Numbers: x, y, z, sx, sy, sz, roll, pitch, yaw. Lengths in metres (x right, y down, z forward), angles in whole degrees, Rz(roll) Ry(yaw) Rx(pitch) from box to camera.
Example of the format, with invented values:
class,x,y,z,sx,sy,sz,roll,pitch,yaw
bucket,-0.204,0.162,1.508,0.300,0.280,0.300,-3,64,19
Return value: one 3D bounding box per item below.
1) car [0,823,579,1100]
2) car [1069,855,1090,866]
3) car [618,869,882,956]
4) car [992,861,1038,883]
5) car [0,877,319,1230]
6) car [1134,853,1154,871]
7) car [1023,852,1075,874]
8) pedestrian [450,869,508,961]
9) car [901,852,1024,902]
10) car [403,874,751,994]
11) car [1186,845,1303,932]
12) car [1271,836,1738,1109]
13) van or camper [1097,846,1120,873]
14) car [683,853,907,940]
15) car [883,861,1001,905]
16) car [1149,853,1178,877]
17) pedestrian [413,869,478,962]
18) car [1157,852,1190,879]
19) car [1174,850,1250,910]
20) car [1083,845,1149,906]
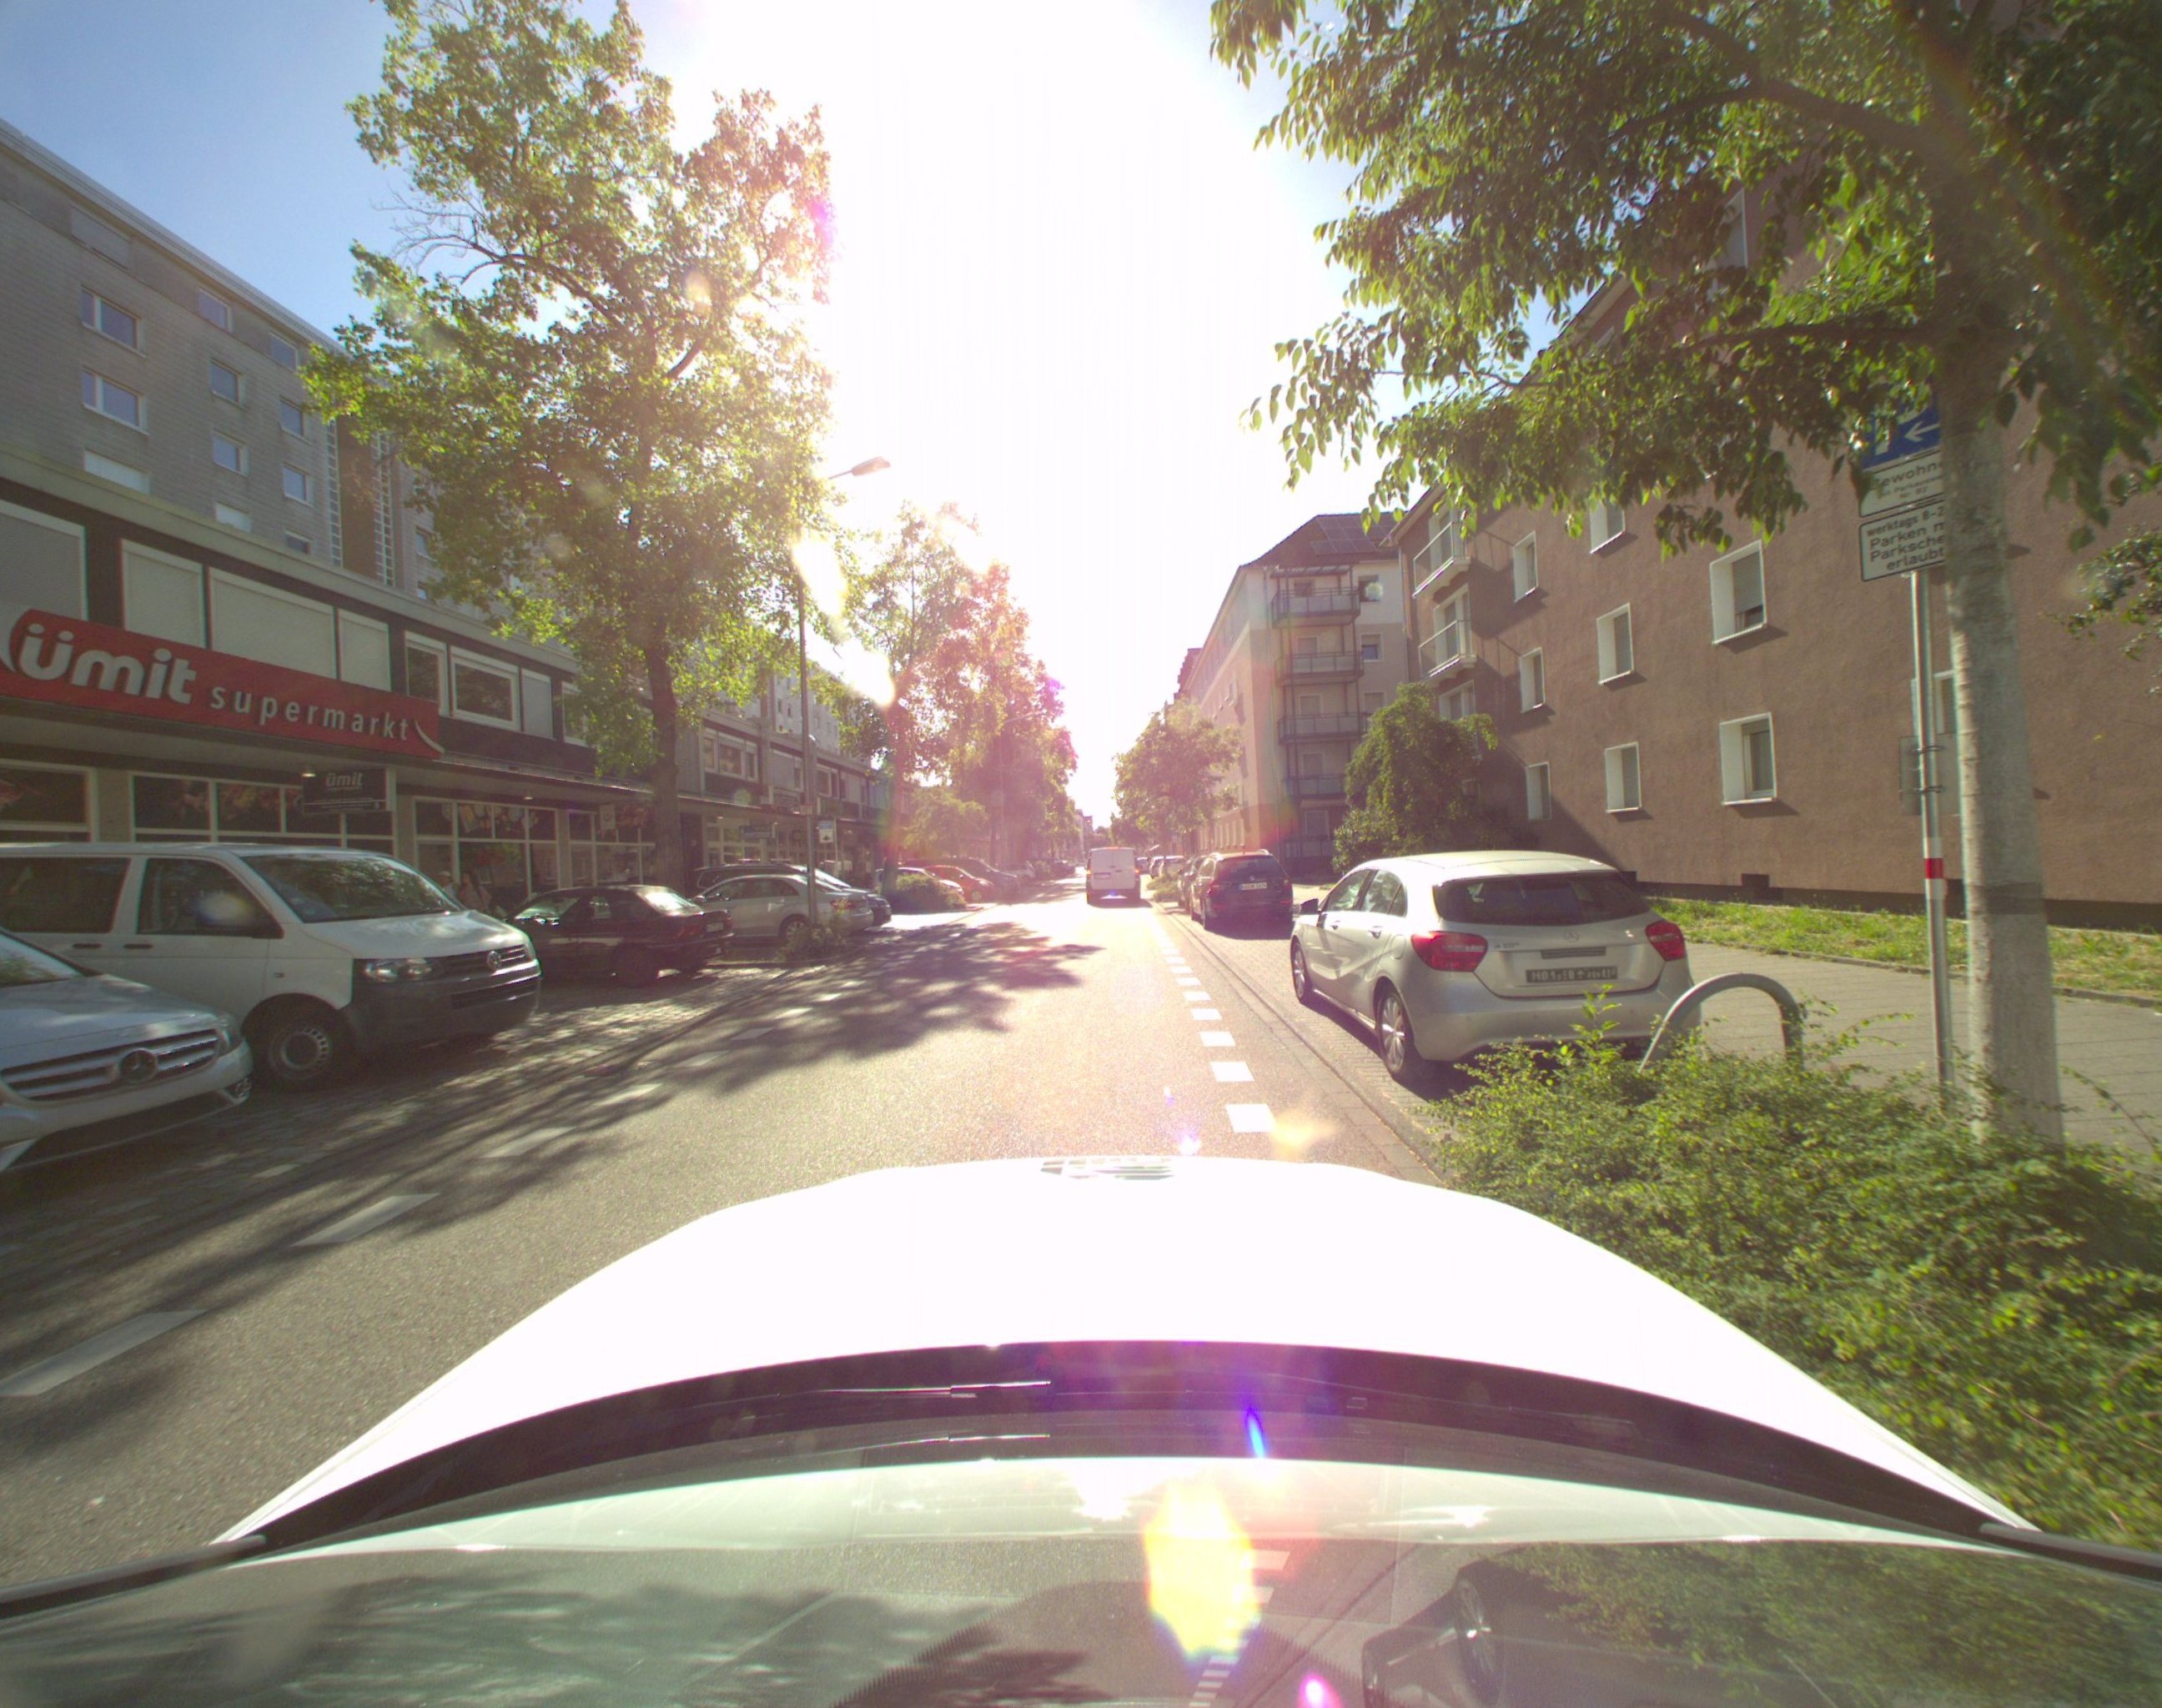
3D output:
class,x,y,z,sx,sy,sz,roll,pitch,yaw
car,-7.367,0.829,7.092,4.714,2.006,1.959,-1,0,0
car,-0.260,1.287,162.603,3.976,2.013,1.999,-3,0,-2
car,-6.702,1.165,16.843,4.639,1.494,1.828,-2,0,1
car,-4.829,1.297,59.781,3.088,1.409,1.662,-2,0,1
car,-7.205,1.061,4.506,4.274,1.612,1.759,-3,0,1
car,5.659,0.692,73.625,1.733,1.519,3.861,-3,0,3
car,-3.332,0.944,84.741,5.194,1.981,1.662,-2,0,1
pedestrian,-11.276,1.133,15.270,0.528,1.651,0.634,-3,0,2
car,-5.293,1.009,36.825,5.194,1.981,1.662,-2,0,1
car,-7.241,1.119,11.981,4.015,1.494,1.718,-2,0,1
car,3.290,0.646,17.174,1.775,1.519,4.312,-3,0,3
car,2.861,0.672,6.656,1.733,1.454,4.158,-3,0,2
van or camper,2.707,0.541,79.732,1.985,2.475,5.824,-3,0,3
car,-6.737,0.978,19.518,4.610,1.804,1.838,-2,0,1
car,-5.790,1.191,34.253,4.610,1.610,1.662,-2,-1,1
car,5.597,0.728,55.787,1.733,1.519,3.861,-3,0,3
pedestrian,-11.903,1.138,15.273,0.627,1.651,0.634,-3,0,2
car,5.654,0.702,50.050,1.733,1.519,3.861,-3,0,3
car,3.681,0.692,23.432,1.733,1.519,3.861,-3,0,3
car,1.270,0.708,29.798,2.093,1.907,5.427,-3,0,2
